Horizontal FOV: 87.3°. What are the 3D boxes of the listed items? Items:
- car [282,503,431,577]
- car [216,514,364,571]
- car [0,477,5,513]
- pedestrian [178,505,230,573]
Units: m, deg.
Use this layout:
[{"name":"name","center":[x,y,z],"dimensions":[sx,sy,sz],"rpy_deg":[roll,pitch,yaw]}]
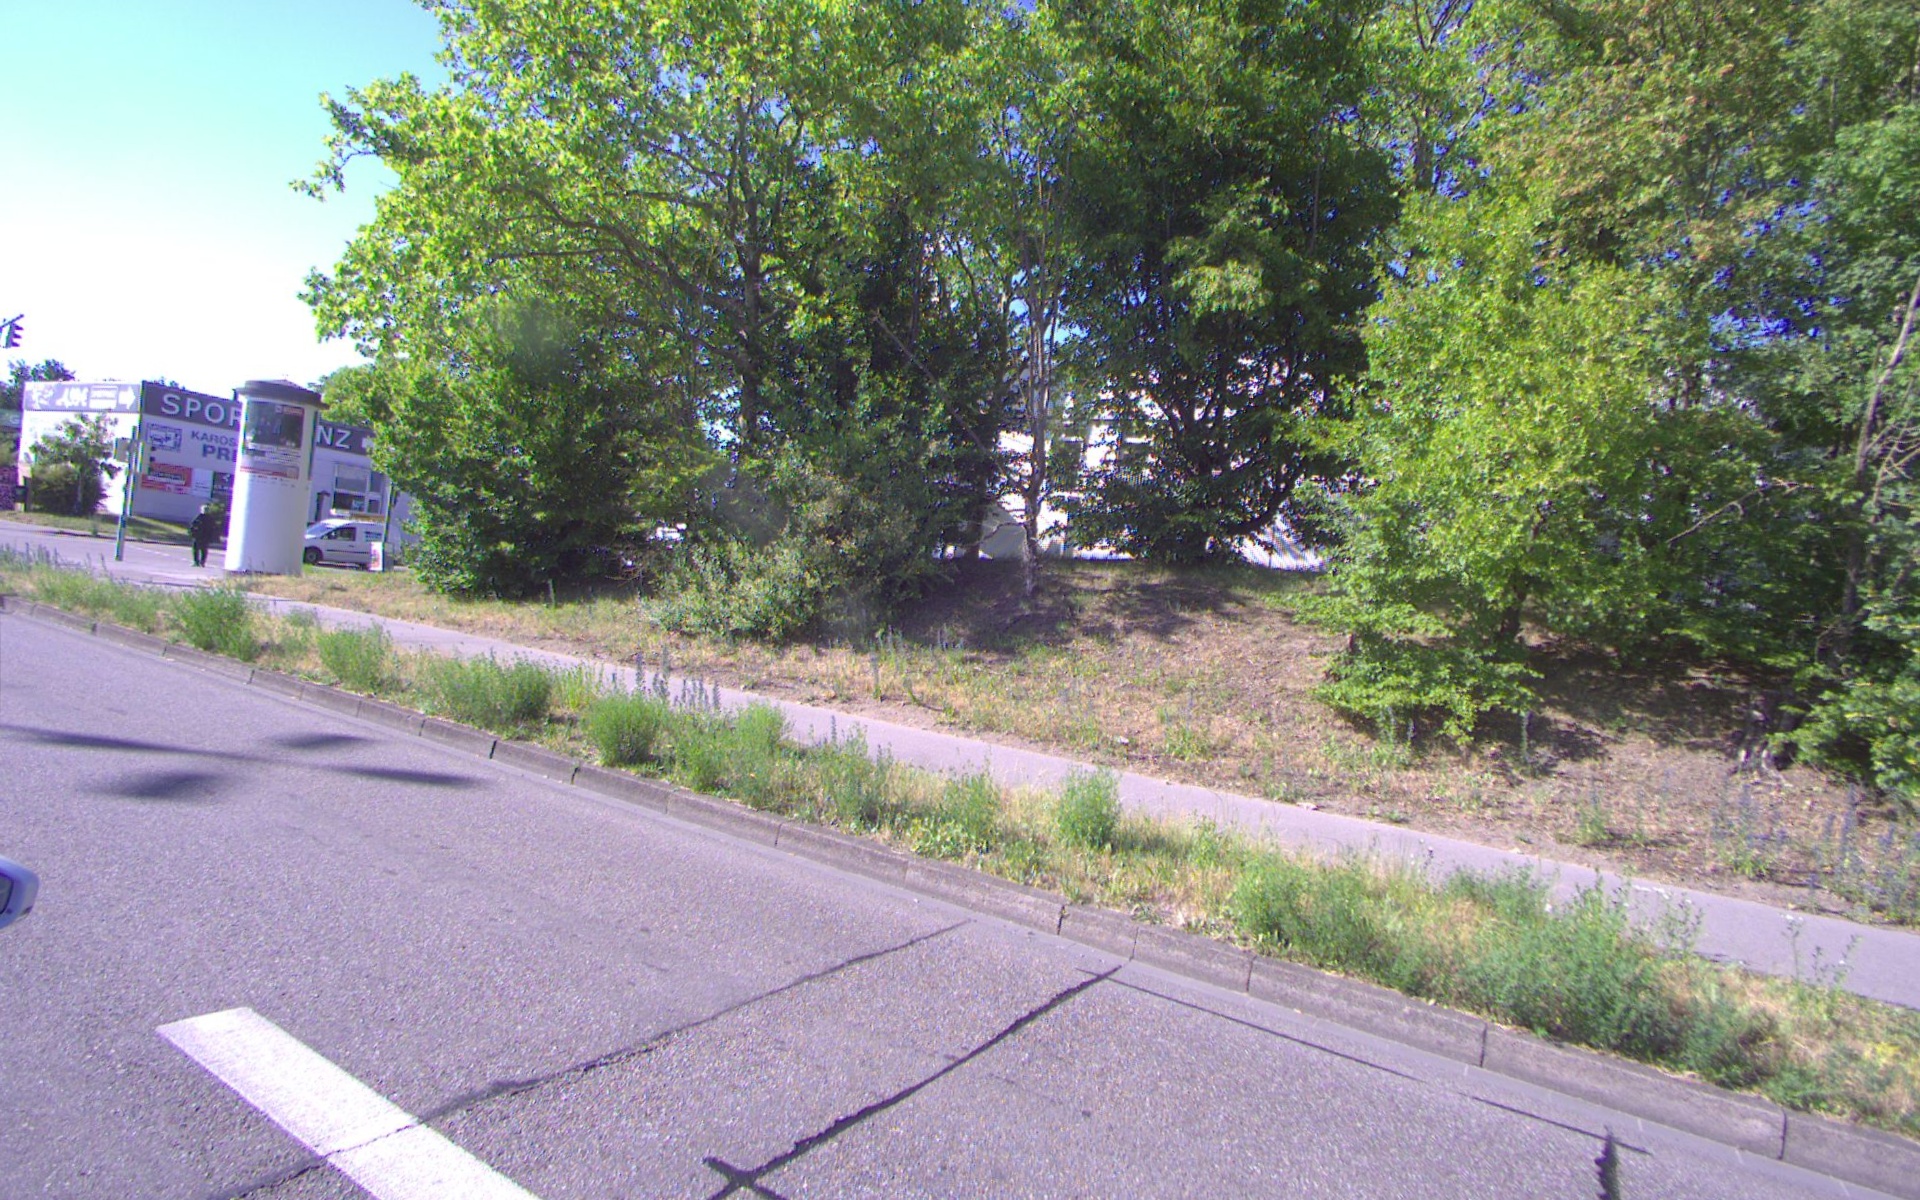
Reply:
[{"name":"car","center":[-23.389,-2.283,39.172],"dimensions":[1.965,2.171,4.415],"rpy_deg":[7,-1,28]},{"name":"car","center":[-26.768,-2.264,40.341],"dimensions":[1.965,1.571,4.415],"rpy_deg":[7,-1,28]},{"name":"car","center":[-48.289,-5.342,47.682],"dimensions":[1.663,1.726,4.003],"rpy_deg":[7,-1,16]},{"name":"pedestrian","center":[-21.131,-1.706,28.118],"dimensions":[0.841,1.743,0.822],"rpy_deg":[7,0,39]}]
